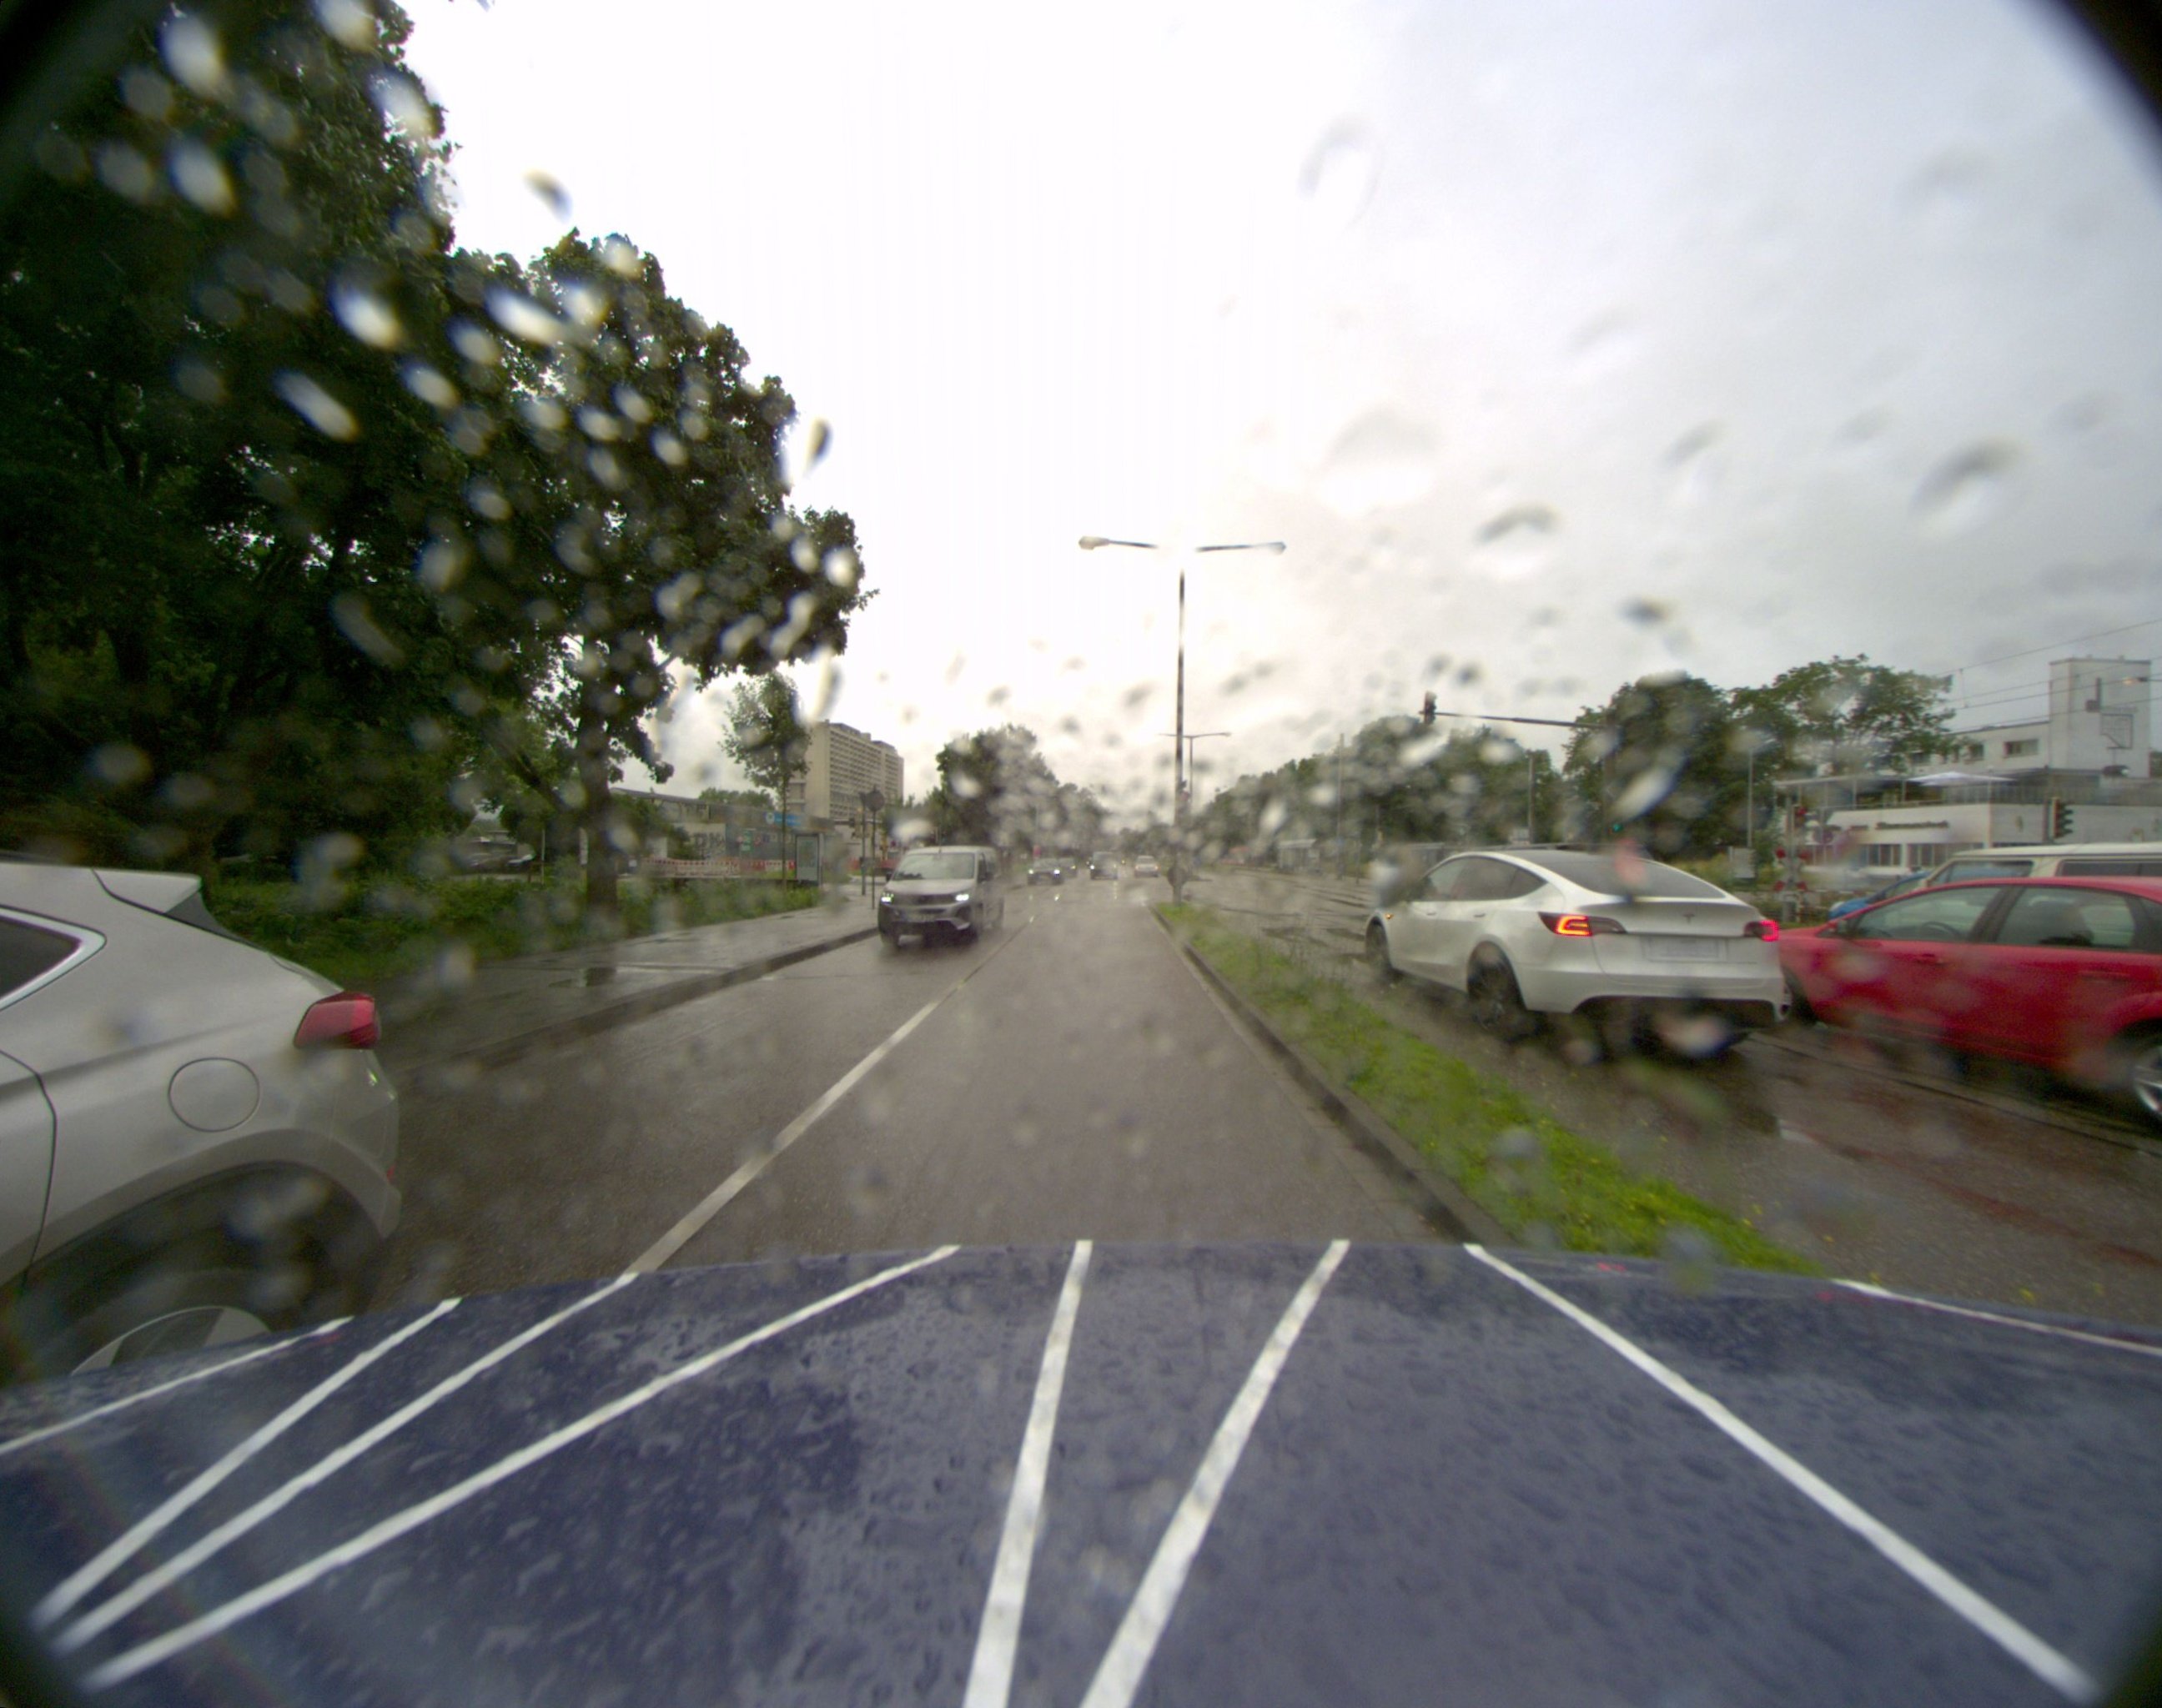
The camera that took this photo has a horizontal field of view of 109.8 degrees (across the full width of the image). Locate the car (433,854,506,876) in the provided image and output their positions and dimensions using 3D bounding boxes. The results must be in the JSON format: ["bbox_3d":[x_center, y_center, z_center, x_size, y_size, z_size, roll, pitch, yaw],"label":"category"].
[{"bbox_3d":[-47.865,0.850,59.548,1.698,1.501,4.007,-1,1,29],"label":"car"}]

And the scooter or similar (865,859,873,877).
[{"bbox_3d":[-14.271,0.922,51.131,0.286,1.169,0.560,1,1,9],"label":"scooter or similar"}]

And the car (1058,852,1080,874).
[{"bbox_3d":[-0.977,0.710,62.350,1.651,1.652,3.776,-2,1,0],"label":"car"}]

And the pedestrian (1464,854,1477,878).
[{"bbox_3d":[29.609,0.928,57.707,0.631,1.782,0.681,-1,1,2],"label":"pedestrian"}]

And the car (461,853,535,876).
[{"bbox_3d":[-43.610,0.768,56.955,1.698,1.501,4.007,-1,1,29],"label":"car"}]

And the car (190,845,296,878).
[{"bbox_3d":[-43.080,0.374,39.101,3.665,1.588,1.721,-1,1,5],"label":"car"}]

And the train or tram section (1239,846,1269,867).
[{"bbox_3d":[29.214,0.388,128.607,3.541,3.370,9.280,0,0,3],"label":"train or tram section"}]

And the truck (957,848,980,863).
[{"bbox_3d":[-22.662,0.212,153.294,2.810,2.882,8.750,-1,1,2],"label":"truck"}]

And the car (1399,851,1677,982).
[{"bbox_3d":[7.412,0.861,13.107,1.810,1.763,5.089,2,0,2],"label":"car"}]

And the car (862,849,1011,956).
[{"bbox_3d":[-2.683,0.821,15.307,1.998,1.785,4.562,-1,1,1],"label":"car"}]

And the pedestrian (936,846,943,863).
[{"bbox_3d":[-16.716,0.056,89.929,0.580,1.885,0.876,-1,1,2],"label":"pedestrian"}]

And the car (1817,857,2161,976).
[{"bbox_3d":[16.552,0.964,13.883,1.998,1.699,4.527,-1,1,3],"label":"car"}]

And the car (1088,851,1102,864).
[{"bbox_3d":[1.926,0.415,104.342,1.726,1.643,4.000,-1,1,2],"label":"car"}]

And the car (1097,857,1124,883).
[{"bbox_3d":[2.127,1.144,54.433,1.812,1.683,3.777,-1,1,3],"label":"car"}]

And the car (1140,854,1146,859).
[{"bbox_3d":[18.071,0.621,221.631,1.684,1.353,4.251,2,0,1],"label":"car"}]

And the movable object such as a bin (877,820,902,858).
[{"bbox_3d":[-22.862,-1.730,90.701,1.557,4.401,3.909,-1,1,4],"label":"movable object such as a bin"}]

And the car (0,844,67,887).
[{"bbox_3d":[-41.696,0.469,28.374,4.600,1.574,1.924,-2,1,-6],"label":"car"}]

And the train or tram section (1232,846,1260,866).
[{"bbox_3d":[29.707,0.354,137.191,3.541,3.370,9.280,0,0,3],"label":"train or tram section"}]

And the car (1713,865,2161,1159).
[{"bbox_3d":[7.074,0.960,5.202,1.805,1.560,4.428,2,1,1],"label":"car"}]

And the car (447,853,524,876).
[{"bbox_3d":[-45.553,0.804,58.231,1.802,1.563,4.218,-1,1,29],"label":"car"}]

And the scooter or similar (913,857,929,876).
[{"bbox_3d":[-10.575,0.834,50.284,0.959,1.222,0.322,3,1,7],"label":"scooter or similar"}]

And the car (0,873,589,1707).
[{"bbox_3d":[-2.947,0.923,0.902,1.889,1.601,4.195,-1,1,1],"label":"car"}]

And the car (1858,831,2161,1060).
[{"bbox_3d":[10.483,0.839,6.956,1.933,2.006,4.743,2,0,2],"label":"car"}]

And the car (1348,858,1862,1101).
[{"bbox_3d":[4.400,0.872,7.550,1.965,1.607,4.698,1,0,2],"label":"car"}]

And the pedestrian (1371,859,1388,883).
[{"bbox_3d":[20.871,1.162,53.089,0.783,1.648,0.803,-2,1,-15],"label":"pedestrian"}]

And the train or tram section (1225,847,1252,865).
[{"bbox_3d":[30.259,0.308,146.365,3.541,3.381,10.263,0,0,3],"label":"train or tram section"}]

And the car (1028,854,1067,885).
[{"bbox_3d":[-1.855,0.839,43.087,1.858,1.583,4.000,-2,1,2],"label":"car"}]

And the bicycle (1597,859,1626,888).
[{"bbox_3d":[32.558,1.177,46.668,0.641,1.751,1.735,0,0,4],"label":"bicycle"}]

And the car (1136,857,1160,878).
[{"bbox_3d":[5.297,1.033,59.981,1.740,1.535,4.015,-1,0,5],"label":"car"}]
